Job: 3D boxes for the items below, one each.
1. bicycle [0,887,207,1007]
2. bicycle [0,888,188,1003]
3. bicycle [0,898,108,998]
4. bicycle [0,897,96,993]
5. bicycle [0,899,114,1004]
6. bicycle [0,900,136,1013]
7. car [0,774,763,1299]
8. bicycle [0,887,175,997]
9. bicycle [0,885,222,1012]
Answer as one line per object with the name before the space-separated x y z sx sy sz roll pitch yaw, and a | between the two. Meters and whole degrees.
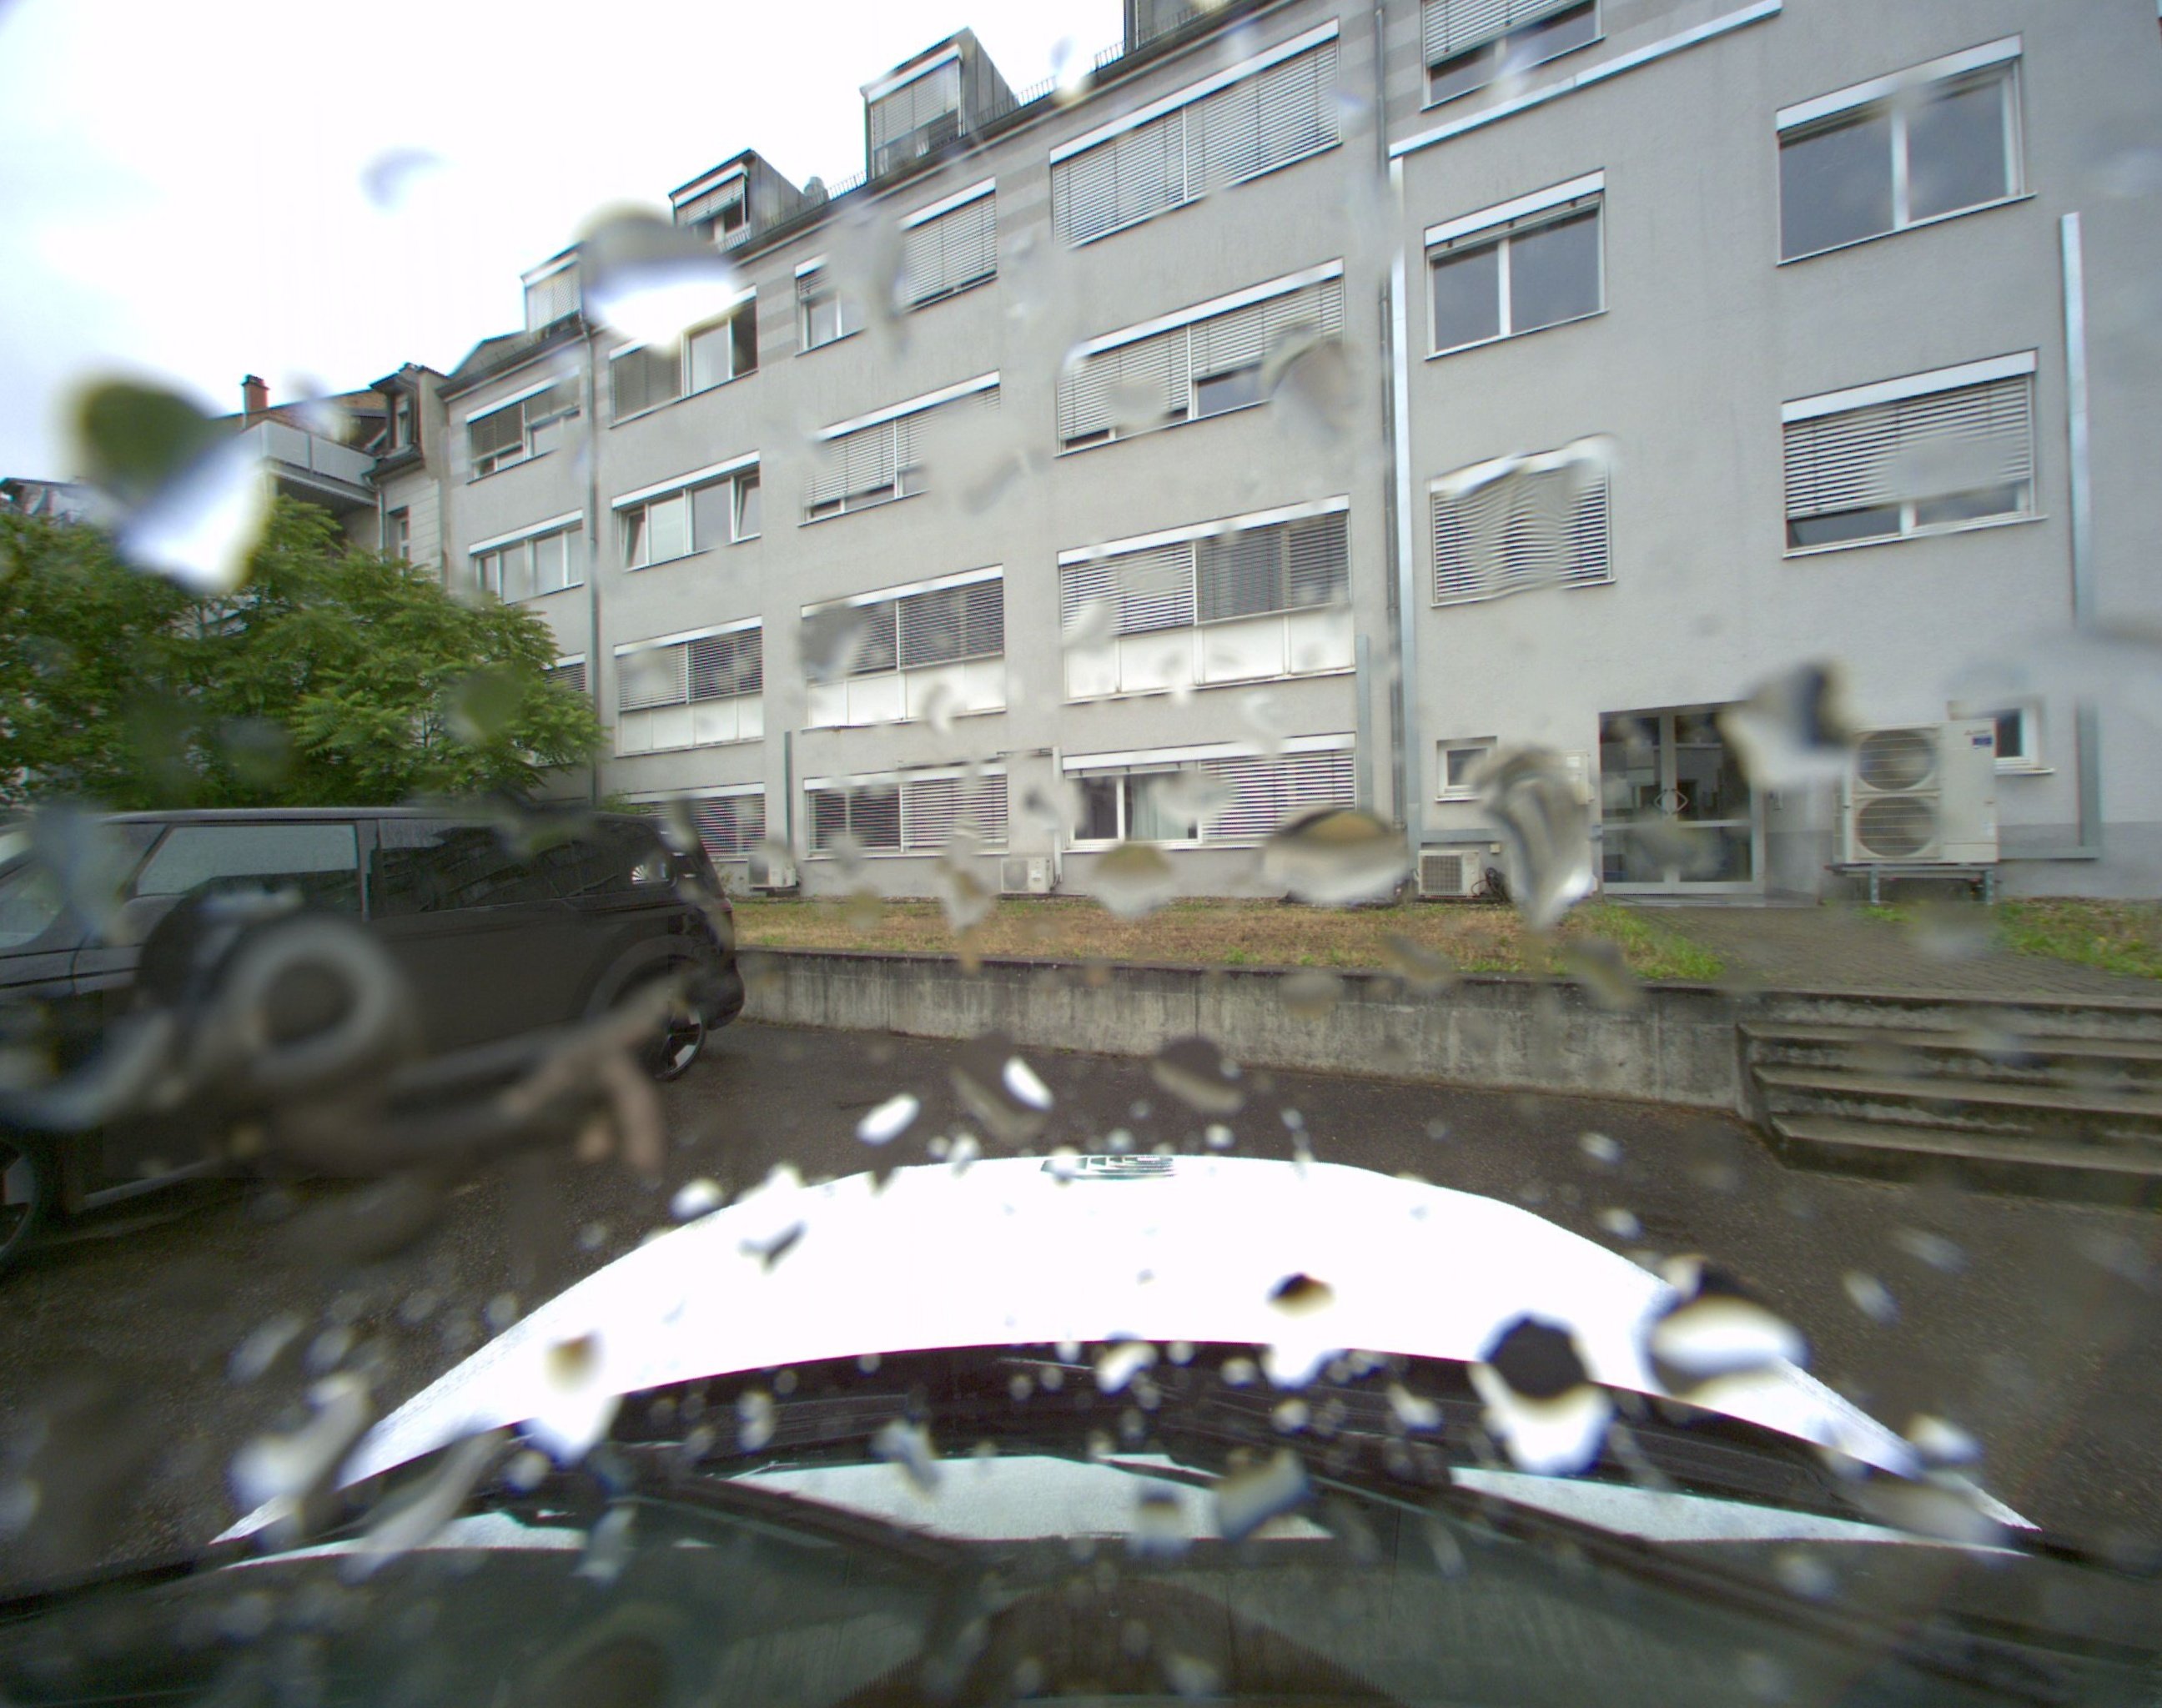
bicycle | -12.196 1.075 9.092 0.623 1.241 3.244 -3 0 30
bicycle | -12.782 1.105 9.405 0.623 1.241 3.244 -3 0 30
bicycle | -12.976 1.128 9.269 0.624 1.104 2.350 -1 0 31
bicycle | -13.533 1.135 9.607 0.624 1.104 2.350 -1 0 31
bicycle | -12.441 1.121 8.887 0.624 1.104 2.350 -1 0 31
bicycle | -11.676 1.111 8.454 0.624 1.104 2.350 -1 0 31
car | -4.316 0.675 4.533 2.021 1.897 4.548 -2 0 24
bicycle | -13.332 1.107 9.744 0.623 1.241 3.244 -3 0 30
bicycle | -11.593 1.045 8.697 0.623 1.241 3.244 -3 0 30
